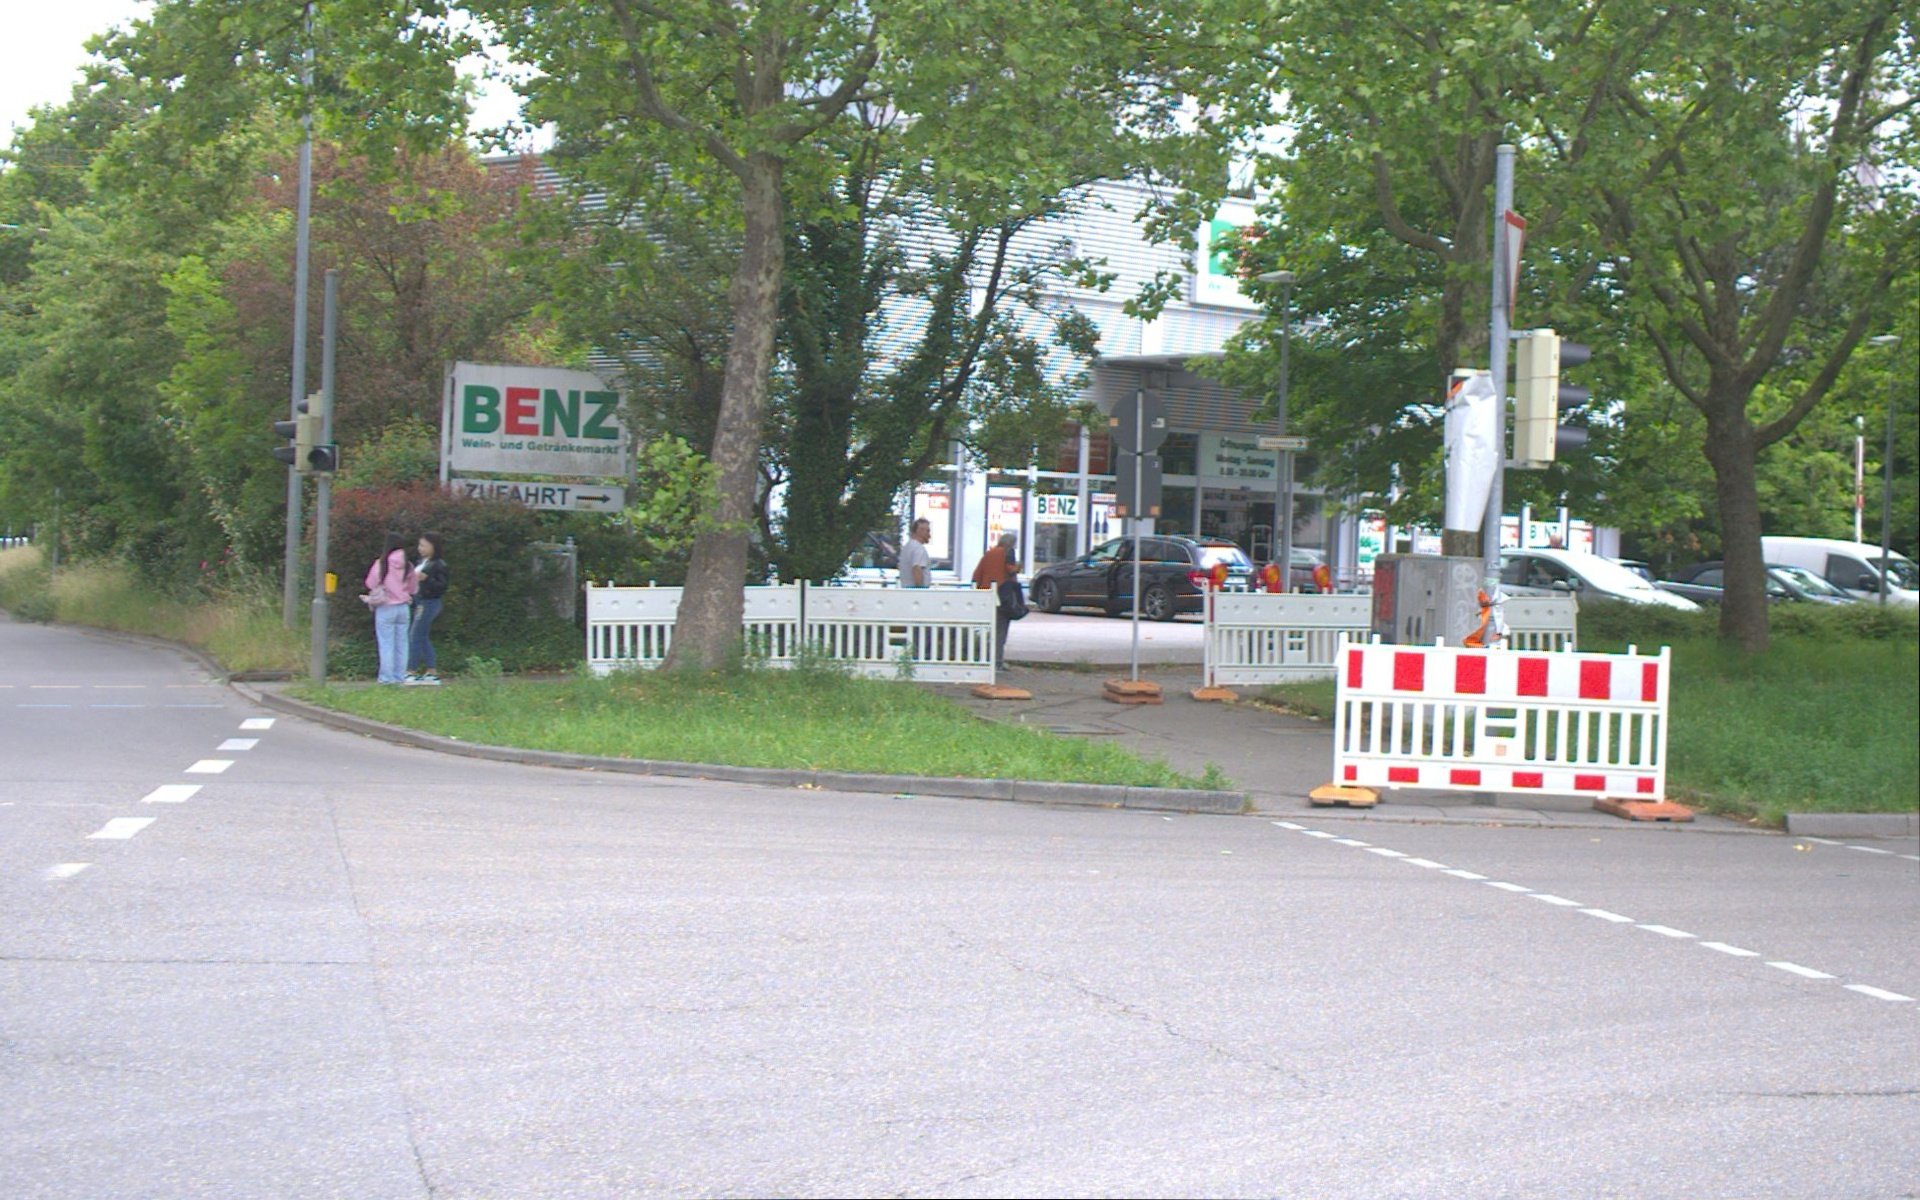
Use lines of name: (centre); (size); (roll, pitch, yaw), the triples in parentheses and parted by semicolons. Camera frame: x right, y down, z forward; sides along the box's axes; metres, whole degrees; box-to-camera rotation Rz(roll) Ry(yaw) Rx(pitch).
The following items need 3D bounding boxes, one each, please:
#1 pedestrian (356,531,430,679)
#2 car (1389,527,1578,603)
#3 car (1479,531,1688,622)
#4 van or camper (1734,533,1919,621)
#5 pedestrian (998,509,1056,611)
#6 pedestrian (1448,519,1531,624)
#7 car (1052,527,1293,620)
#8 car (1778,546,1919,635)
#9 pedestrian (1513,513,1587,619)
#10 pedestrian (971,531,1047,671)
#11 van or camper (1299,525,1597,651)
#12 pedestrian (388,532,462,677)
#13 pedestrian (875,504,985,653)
pedestrian: (-5.791, 0.050, 35.117); (0.697, 1.484, 0.688); (1, 0, -9)
car: (10.020, -0.678, 65.944); (1.480, 1.399, 3.407); (2, 0, -41)
car: (12.318, -0.483, 68.058); (1.668, 1.629, 3.820); (2, 1, -41)
van or camper: (14.447, -0.360, 55.023); (1.514, 1.352, 3.773); (2, 0, -43)
pedestrian: (1.162, -0.686, 59.567); (0.618, 1.739, 0.739); (2, 0, -40)
pedestrian: (9.594, -0.518, 62.334); (1.072, 1.865, 1.060); (2, 0, -20)
car: (3.597, -0.468, 58.947); (1.728, 1.495, 4.268); (2, 0, -37)
car: (15.763, -0.147, 57.484); (1.480, 1.460, 3.890); (2, 0, -41)
pedestrian: (8.947, -0.511, 52.139); (0.793, 1.581, 0.799); (2, 0, -19)
pedestrian: (0.550, 0.013, 38.484); (0.770, 1.533, 0.655); (1, 0, 5)
van or camper: (6.894, -0.196, 48.860); (1.840, 1.678, 3.999); (0, 1, -38)
pedestrian: (-5.582, 0.044, 35.892); (0.697, 1.484, 0.720); (1, 0, -7)
pedestrian: (-0.322, -0.227, 37.210); (0.795, 1.581, 0.849); (1, 0, 37)
